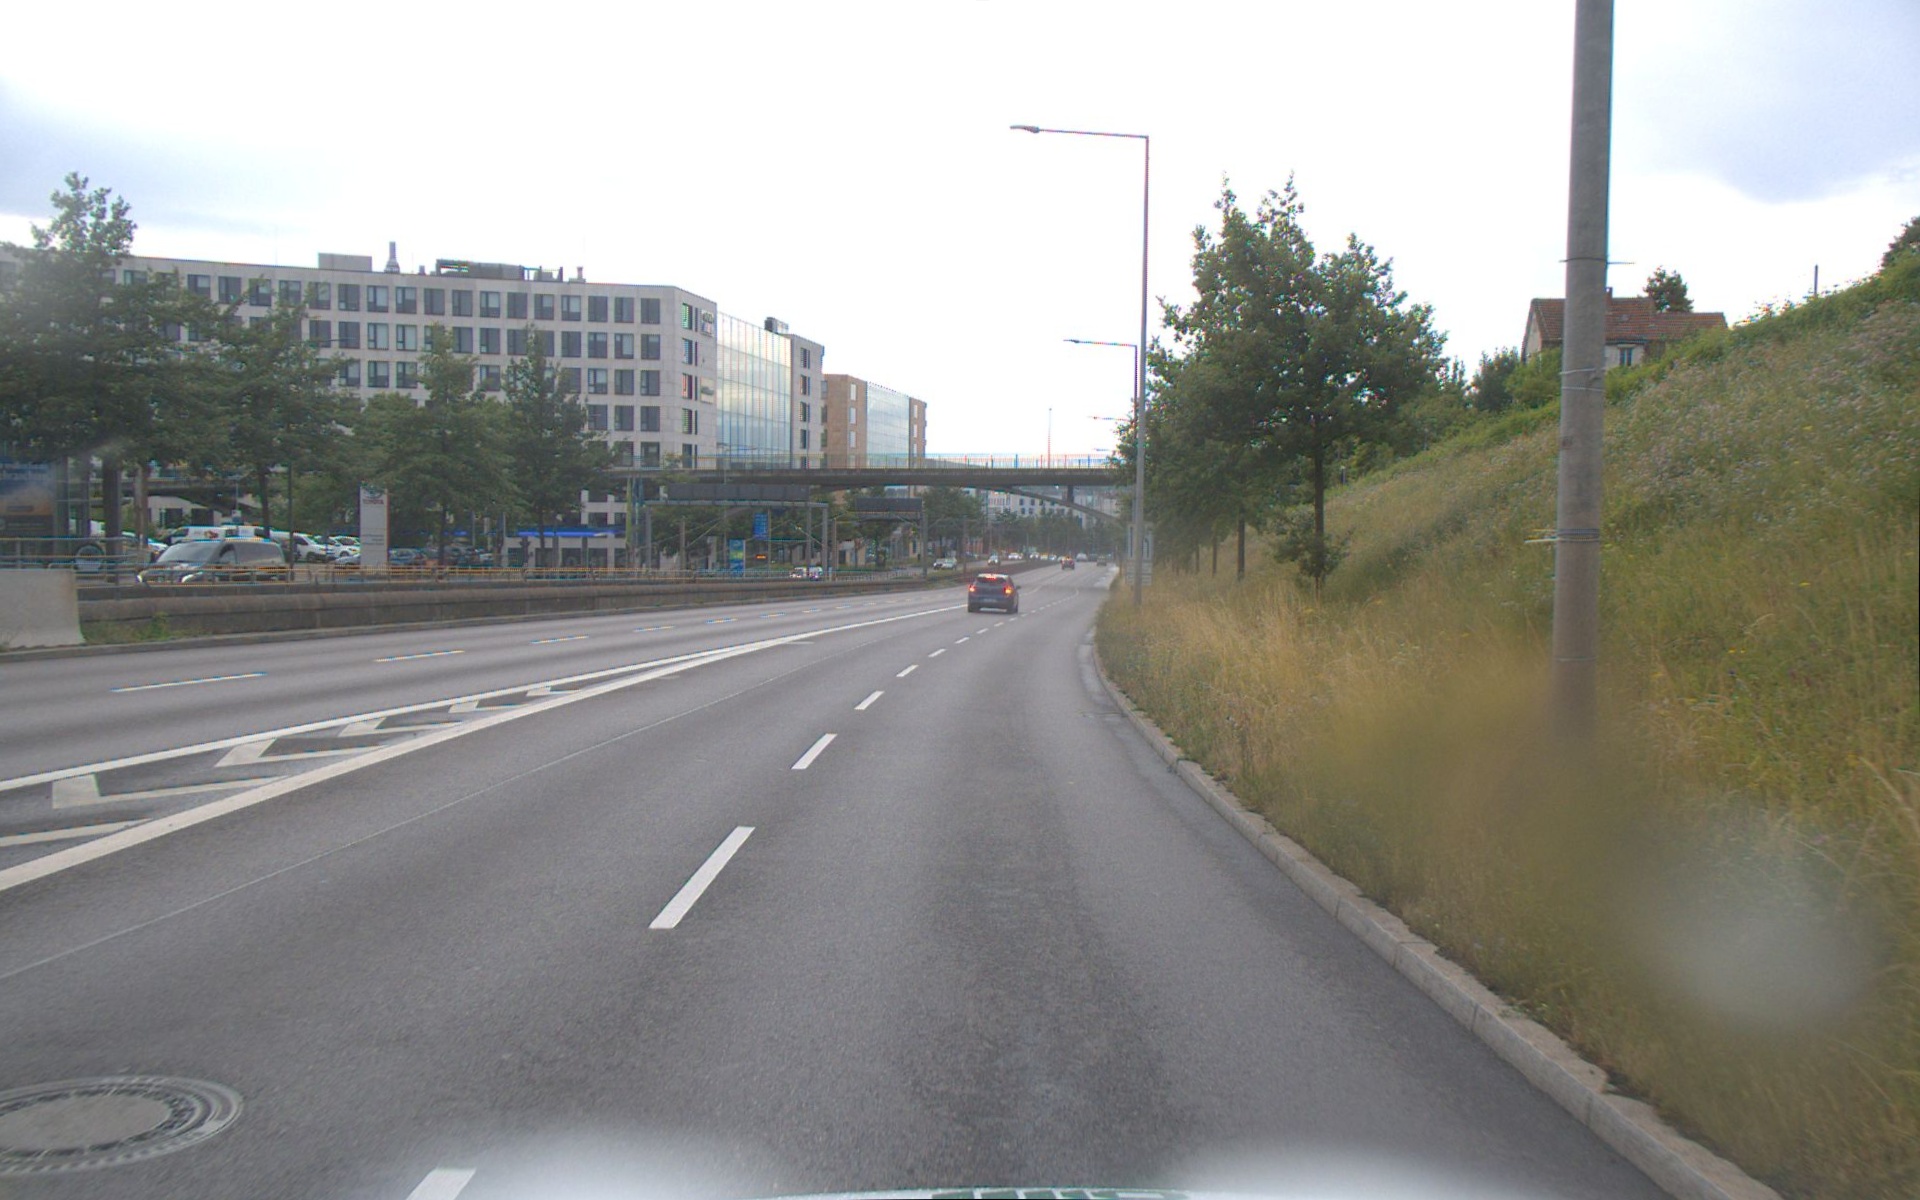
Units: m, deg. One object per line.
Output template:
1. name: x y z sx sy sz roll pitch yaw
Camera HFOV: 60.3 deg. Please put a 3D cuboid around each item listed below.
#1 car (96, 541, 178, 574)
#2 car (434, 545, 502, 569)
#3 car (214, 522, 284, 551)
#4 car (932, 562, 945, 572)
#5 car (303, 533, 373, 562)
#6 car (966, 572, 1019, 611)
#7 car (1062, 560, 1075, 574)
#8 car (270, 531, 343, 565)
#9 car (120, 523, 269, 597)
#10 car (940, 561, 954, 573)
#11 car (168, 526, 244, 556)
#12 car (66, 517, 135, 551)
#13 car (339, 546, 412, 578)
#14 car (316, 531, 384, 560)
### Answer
1. car: -48.327 -2.508 97.173 3.902 1.679 2.003 4 4 11
2. car: -32.827 -2.894 110.435 3.903 1.377 1.851 3 2 8
3. car: -48.171 -4.301 112.138 3.904 1.679 1.822 3 4 2
4. car: -2.997 -4.664 233.544 1.485 1.444 3.481 1 2 6
5. car: -42.072 -3.542 111.869 3.902 1.679 2.003 4 4 11
6. car: 1.278 -0.345 63.570 1.711 1.445 3.481 1 0 6
7. car: 16.220 -4.878 246.992 1.824 1.779 4.003 3 4 2
8. car: -42.059 -3.365 106.450 3.902 1.908 2.003 4 4 11
9. car: -20.947 -1.143 45.432 1.952 1.779 4.004 3 4 5
10. car: -1.771 -4.411 221.031 1.485 1.444 3.481 1 2 6
11. car: -47.998 -3.760 105.354 3.904 1.679 2.002 3 3 4
12. car: -57.214 -4.374 110.117 3.949 2.083 1.979 0 4 -32
13. car: -34.631 -2.259 97.999 3.935 1.679 1.986 2 2 -24
14. car: -42.175 -3.777 114.438 3.902 1.679 2.003 4 4 11
